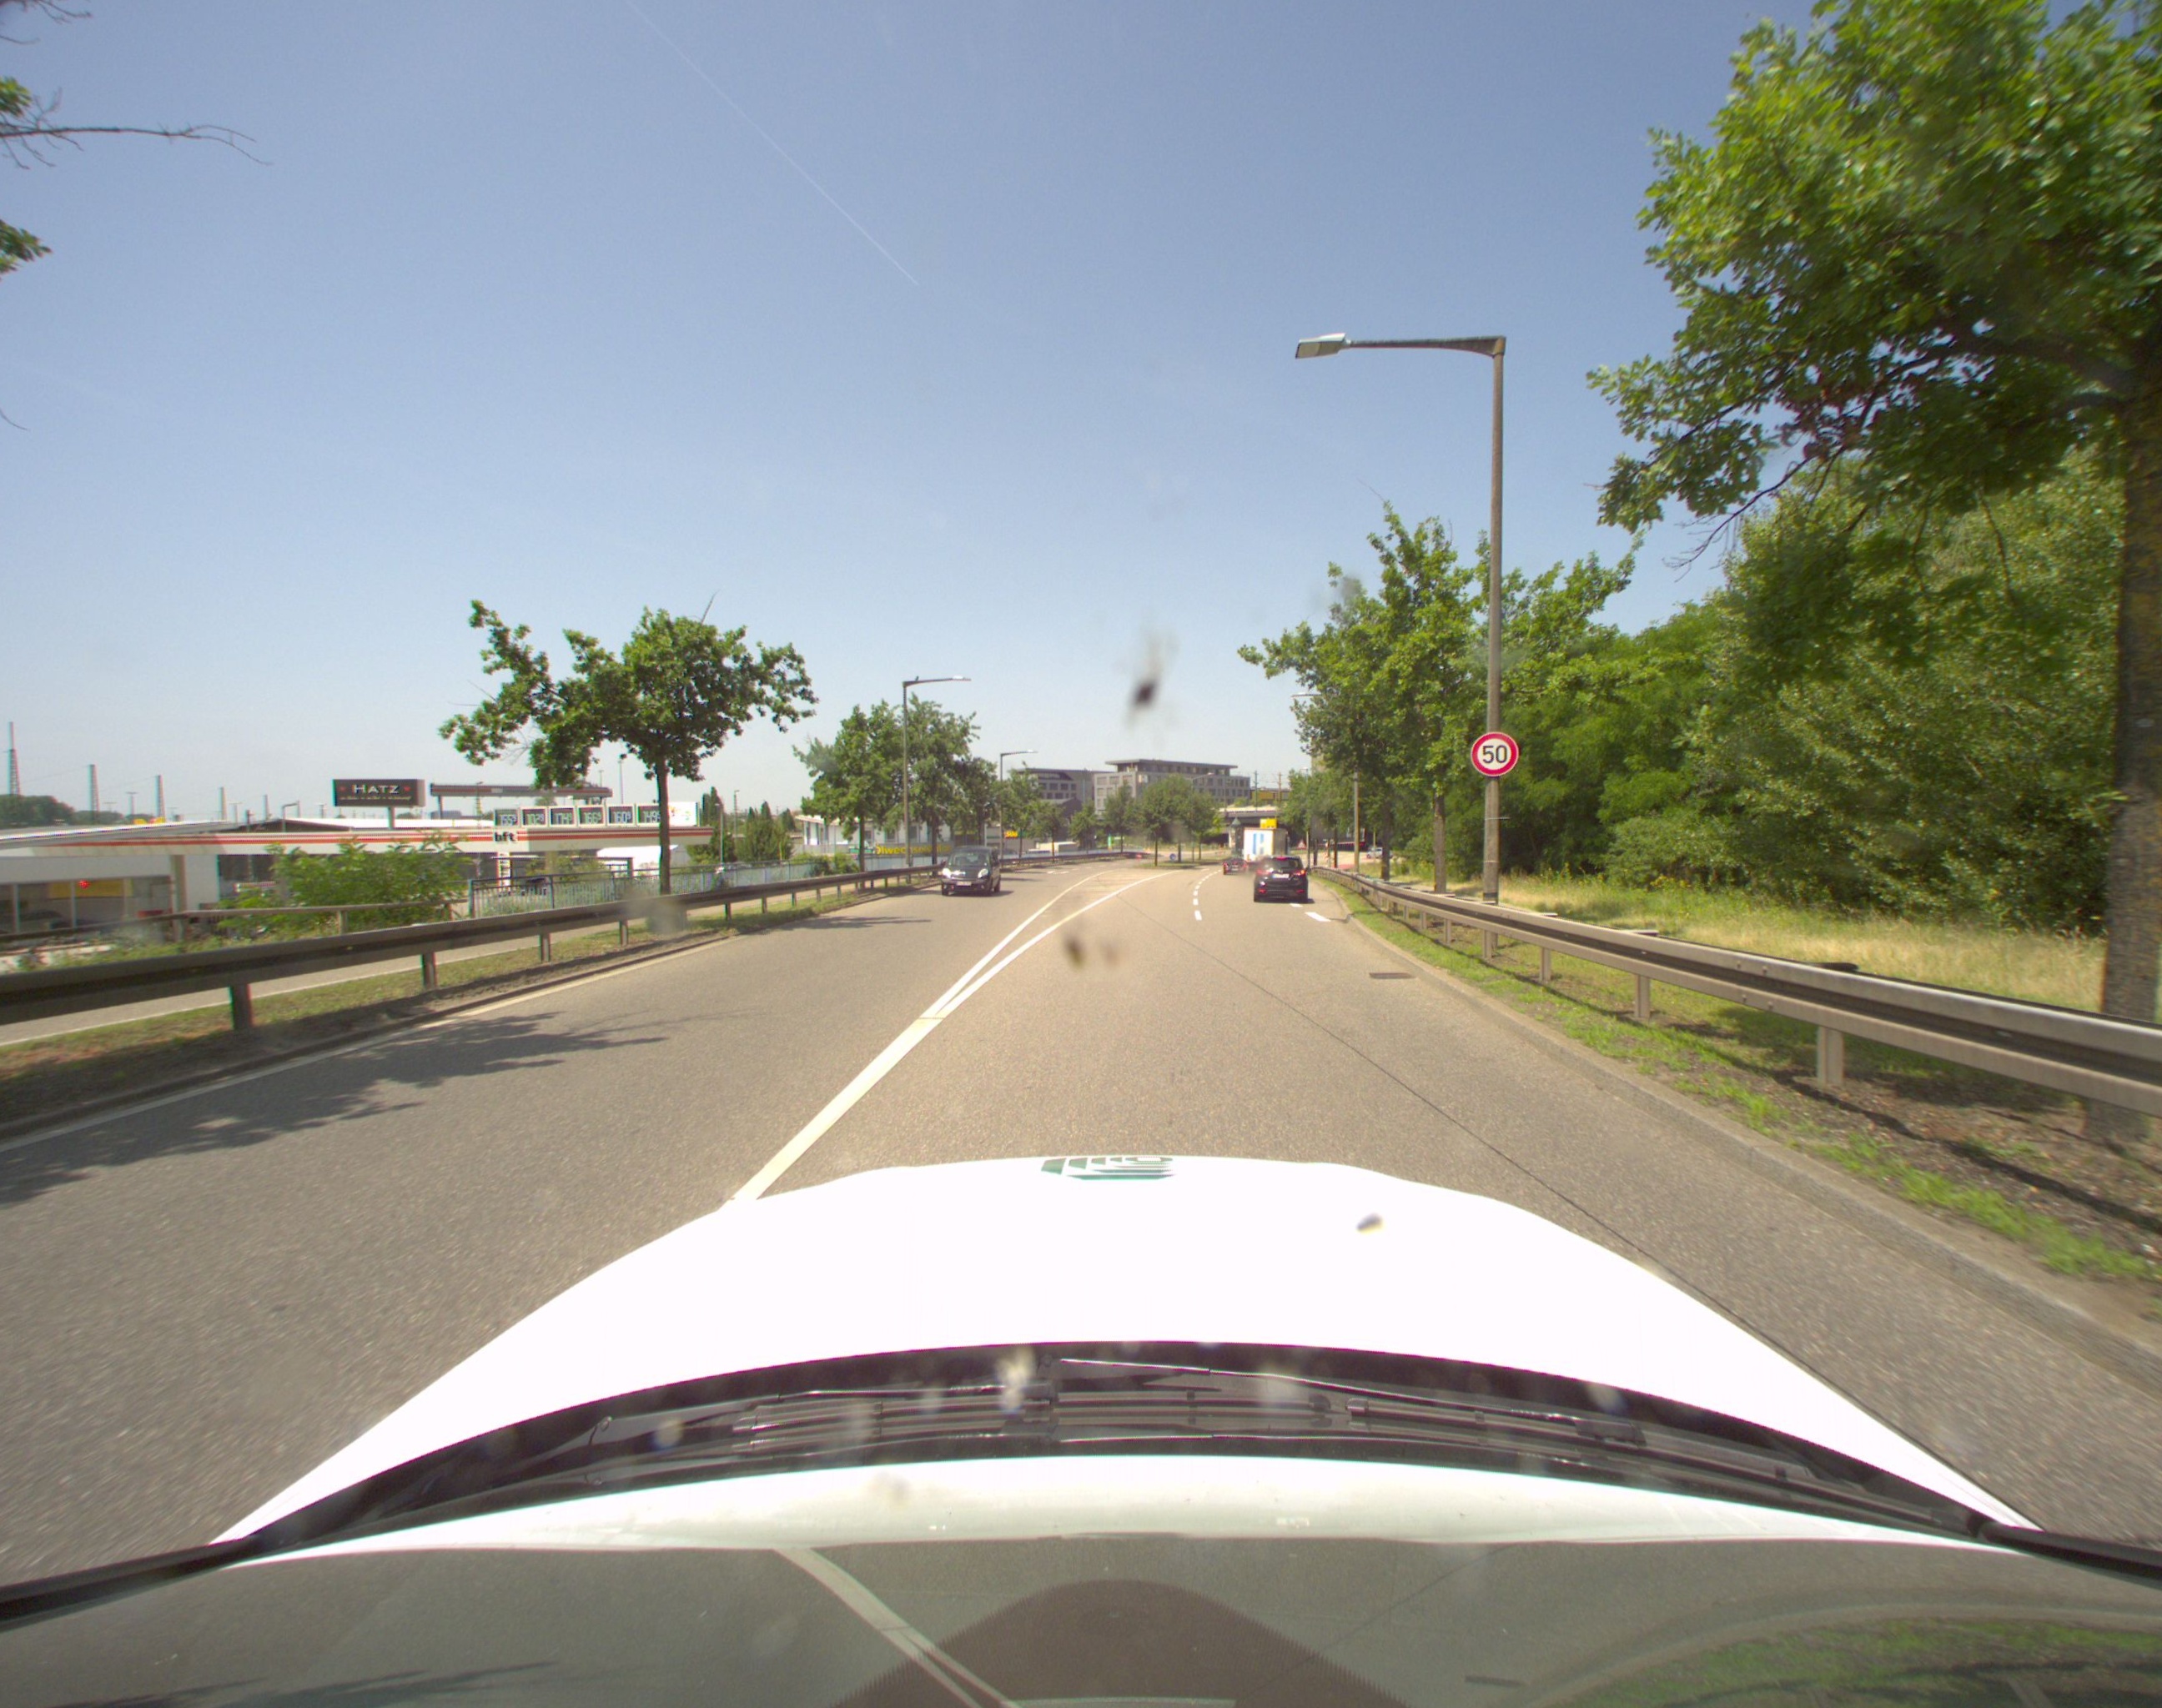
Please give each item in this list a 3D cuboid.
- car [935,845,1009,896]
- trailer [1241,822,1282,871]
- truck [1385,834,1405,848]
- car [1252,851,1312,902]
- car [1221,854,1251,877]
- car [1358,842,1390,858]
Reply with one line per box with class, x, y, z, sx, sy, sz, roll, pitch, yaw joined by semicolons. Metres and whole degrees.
car;-3.930;0.553;30.146;1.798;1.759;4.258;0;0;5
trailer;17.838;-0.895;79.575;3.055;4.367;14.838;-1;2;16
truck;59.096;-2.373;153.382;2.048;2.537;4.024;-1;1;45
car;7.017;0.720;28.185;1.753;1.599;4.096;0;1;17
car;12.106;0.883;63.424;1.942;1.633;4.298;-2;0;16
car;39.591;-0.531;110.163;3.958;2.013;2.008;0;0;14
